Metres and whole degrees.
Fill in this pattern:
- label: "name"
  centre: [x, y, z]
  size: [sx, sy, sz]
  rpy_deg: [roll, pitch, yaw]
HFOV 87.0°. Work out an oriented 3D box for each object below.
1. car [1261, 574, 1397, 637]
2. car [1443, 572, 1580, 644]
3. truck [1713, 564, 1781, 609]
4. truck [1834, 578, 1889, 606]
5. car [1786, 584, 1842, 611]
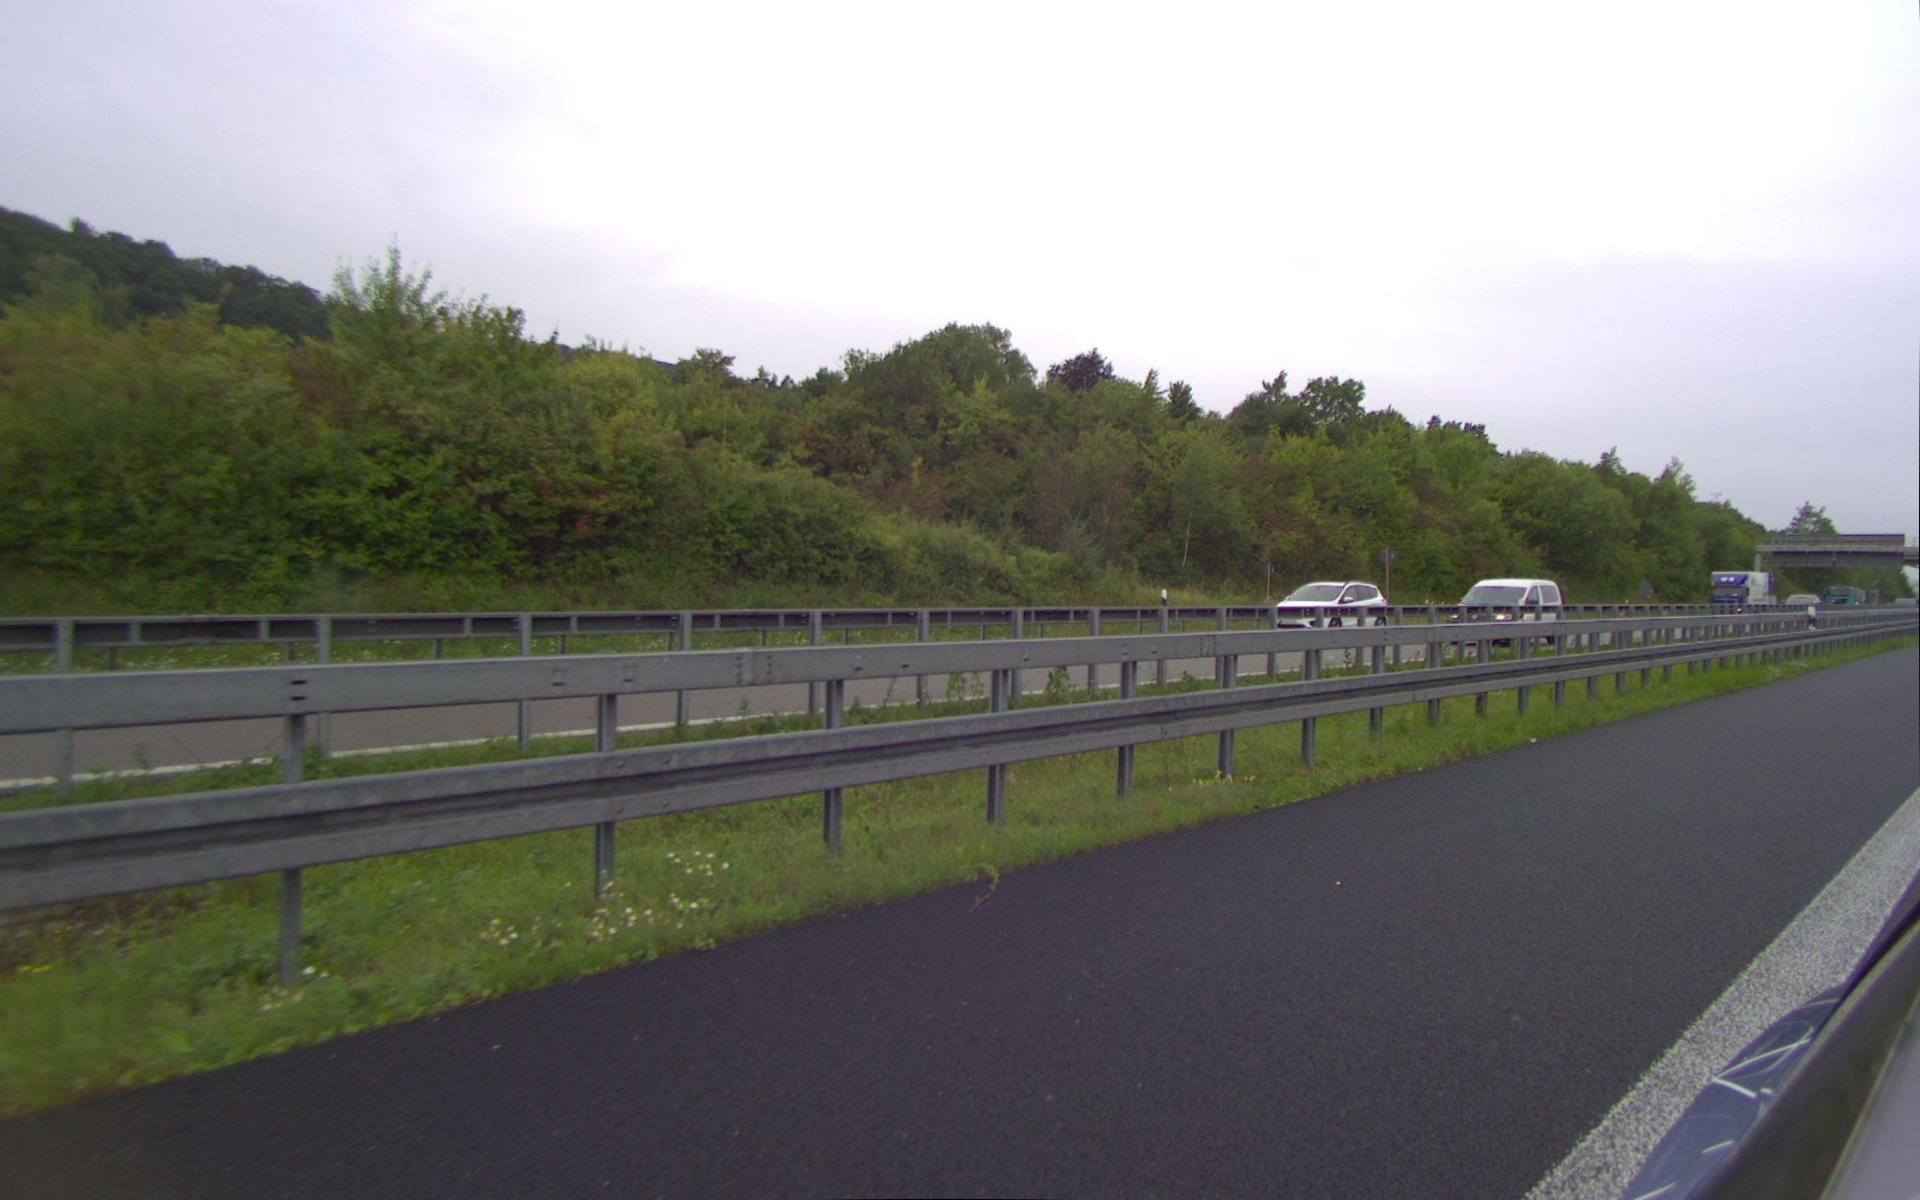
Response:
- label: "car"
  centre: [10.350, 0.110, 28.263]
  size: [4.074, 1.633, 1.899]
  rpy_deg: [0, 1, -42]
- label: "car"
  centre: [15.147, 0.172, 27.724]
  size: [4.203, 1.837, 2.011]
  rpy_deg: [0, 1, -42]
- label: "truck"
  centre: [64.424, -1.093, 82.726]
  size: [9.125, 3.460, 2.905]
  rpy_deg: [0, 1, -42]
- label: "truck"
  centre: [114.404, -1.046, 128.360]
  size: [13.110, 3.460, 2.909]
  rpy_deg: [0, 1, -38]
- label: "car"
  centre: [53.695, -0.181, 63.575]
  size: [4.394, 1.676, 2.012]
  rpy_deg: [0, 1, -41]
